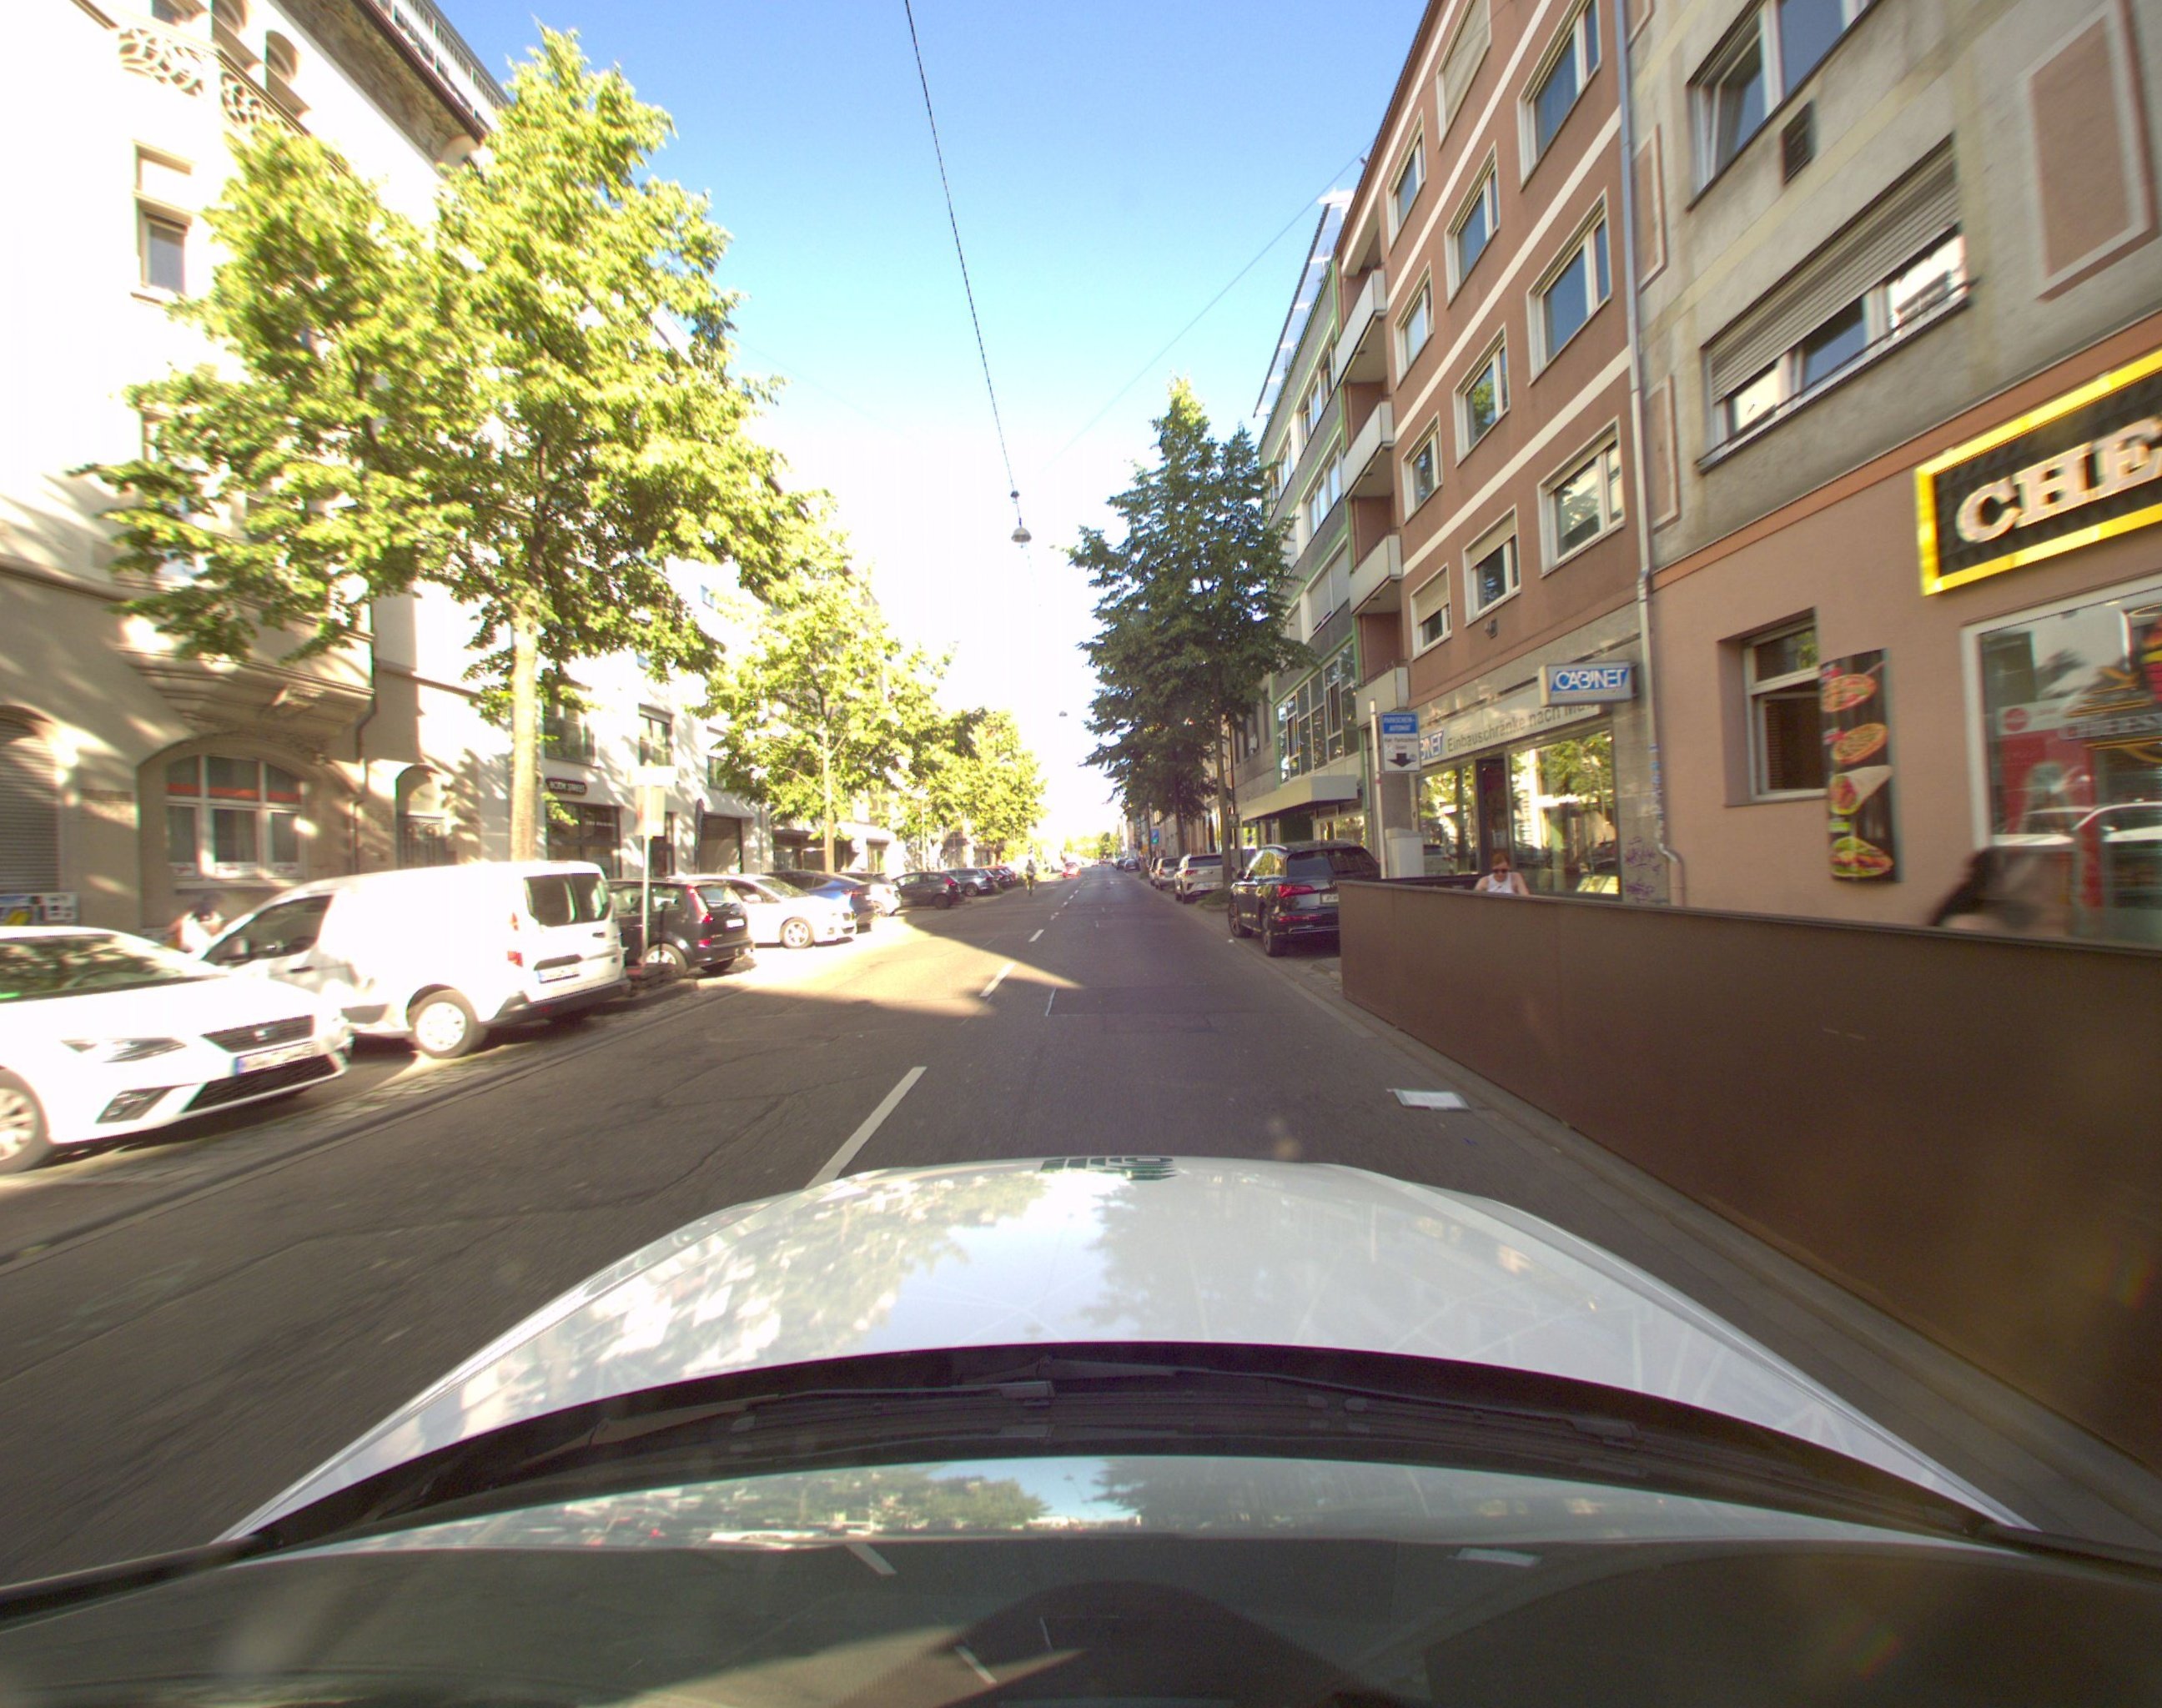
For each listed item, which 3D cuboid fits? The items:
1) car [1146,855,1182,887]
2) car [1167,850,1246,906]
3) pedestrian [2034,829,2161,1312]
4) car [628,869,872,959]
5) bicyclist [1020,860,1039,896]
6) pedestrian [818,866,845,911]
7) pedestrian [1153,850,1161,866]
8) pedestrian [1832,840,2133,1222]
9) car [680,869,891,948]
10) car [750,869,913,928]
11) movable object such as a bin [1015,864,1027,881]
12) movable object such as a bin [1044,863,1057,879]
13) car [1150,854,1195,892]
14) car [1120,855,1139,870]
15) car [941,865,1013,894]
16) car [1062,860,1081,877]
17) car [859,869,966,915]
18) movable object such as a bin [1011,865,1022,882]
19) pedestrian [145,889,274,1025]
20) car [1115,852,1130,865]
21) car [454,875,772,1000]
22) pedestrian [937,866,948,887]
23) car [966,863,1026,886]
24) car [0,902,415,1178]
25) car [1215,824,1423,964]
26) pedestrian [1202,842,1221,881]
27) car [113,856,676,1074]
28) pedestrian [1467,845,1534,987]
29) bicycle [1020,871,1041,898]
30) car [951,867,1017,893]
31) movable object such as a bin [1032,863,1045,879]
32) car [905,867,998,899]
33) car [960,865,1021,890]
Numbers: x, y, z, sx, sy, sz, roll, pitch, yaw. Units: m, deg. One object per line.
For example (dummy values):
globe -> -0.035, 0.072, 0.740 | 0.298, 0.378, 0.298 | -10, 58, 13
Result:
car -> 4.553, 0.920, 45.177 | 1.608, 1.528, 3.061 | -5, -1, 1
car -> 4.037, 0.737, 26.907 | 1.876, 1.527, 4.234 | -6, 0, 1
pedestrian -> 3.347, 0.613, 2.296 | 0.550, 1.379, 0.594 | -3, -1, 2
car -> -6.990, 1.246, 17.536 | 4.350, 1.570, 1.947 | -3, 0, 1
bicyclist -> -2.510, 1.149, 40.095 | 0.722, 1.700, 1.283 | -3, 0, 2
pedestrian -> -10.294, 1.413, 33.641 | 0.694, 1.797, 0.748 | -3, 0, 13
pedestrian -> 7.519, 0.372, 80.860 | 0.578, 1.559, 1.021 | -6, -1, 1
pedestrian -> 3.533, 0.641, 3.245 | 0.471, 1.362, 0.594 | -3, -1, 2
car -> -7.121, 1.293, 19.989 | 4.350, 1.570, 1.981 | -3, 0, 1
car -> -7.422, 1.311, 24.588 | 4.235, 1.458, 1.978 | -3, 0, -3
movable object such as a bin -> -5.569, 1.700, 76.081 | 0.961, 1.471, 1.143 | -4, -1, 0
movable object such as a bin -> -2.837, 1.567, 75.936 | 1.038, 1.471, 1.452 | -4, -1, 0
car -> 4.348, 0.877, 39.223 | 1.608, 1.528, 4.235 | -7, 0, 1
car -> 5.660, 1.018, 95.050 | 1.910, 1.478, 4.966 | -7, 0, 2
car -> -6.186, 1.485, 48.572 | 3.903, 1.485, 1.772 | -3, 0, 2
car -> -0.936, 1.443, 81.446 | 1.652, 1.535, 3.762 | -5, 0, 2
car -> -6.391, 1.435, 31.266 | 3.775, 1.458, 1.777 | -3, 0, -6
movable object such as a bin -> -5.426, 1.642, 68.881 | 0.752, 1.341, 0.805 | -4, -1, 0
pedestrian -> -10.243, 1.180, 9.605 | 0.590, 1.494, 0.843 | -1, 0, 3
car -> 5.807, 0.575, 114.593 | 1.966, 1.725, 4.826 | -2, 0, 2
car -> -7.051, 1.227, 12.568 | 3.785, 1.558, 1.792 | -3, 0, 1
pedestrian -> -9.595, 1.559, 56.541 | 0.505, 1.408, 0.826 | -2, 0, 6
car -> -6.347, 1.548, 61.294 | 4.185, 1.468, 1.741 | -3, 0, 3
car -> -7.458, 1.211, 5.722 | 3.964, 1.464, 1.888 | -2, 0, 1
car -> 3.618, 0.558, 13.369 | 1.987, 1.689, 4.517 | -7, 0, 1
pedestrian -> 6.063, 0.357, 37.927 | 0.620, 1.765, 0.771 | -6, -1, 2
car -> -6.838, 1.025, 8.507 | 4.090, 1.836, 2.039 | -2, 0, 1
pedestrian -> 4.088, 0.588, 7.955 | 0.468, 1.331, 0.485 | -3, -1, 20
bicycle -> -2.486, 1.484, 40.176 | 0.722, 1.169, 2.198 | -3, 0, 2
car -> -6.097, 1.618, 51.316 | 3.825, 1.429, 1.791 | -3, 0, 2
movable object such as a bin -> -3.937, 1.587, 75.784 | 1.038, 1.471, 1.143 | -4, -1, 0
car -> -6.659, 1.462, 42.104 | 4.478, 1.459, 1.790 | -2, 0, -1
car -> -5.975, 1.538, 53.848 | 3.735, 1.468, 1.740 | -3, 0, 1
